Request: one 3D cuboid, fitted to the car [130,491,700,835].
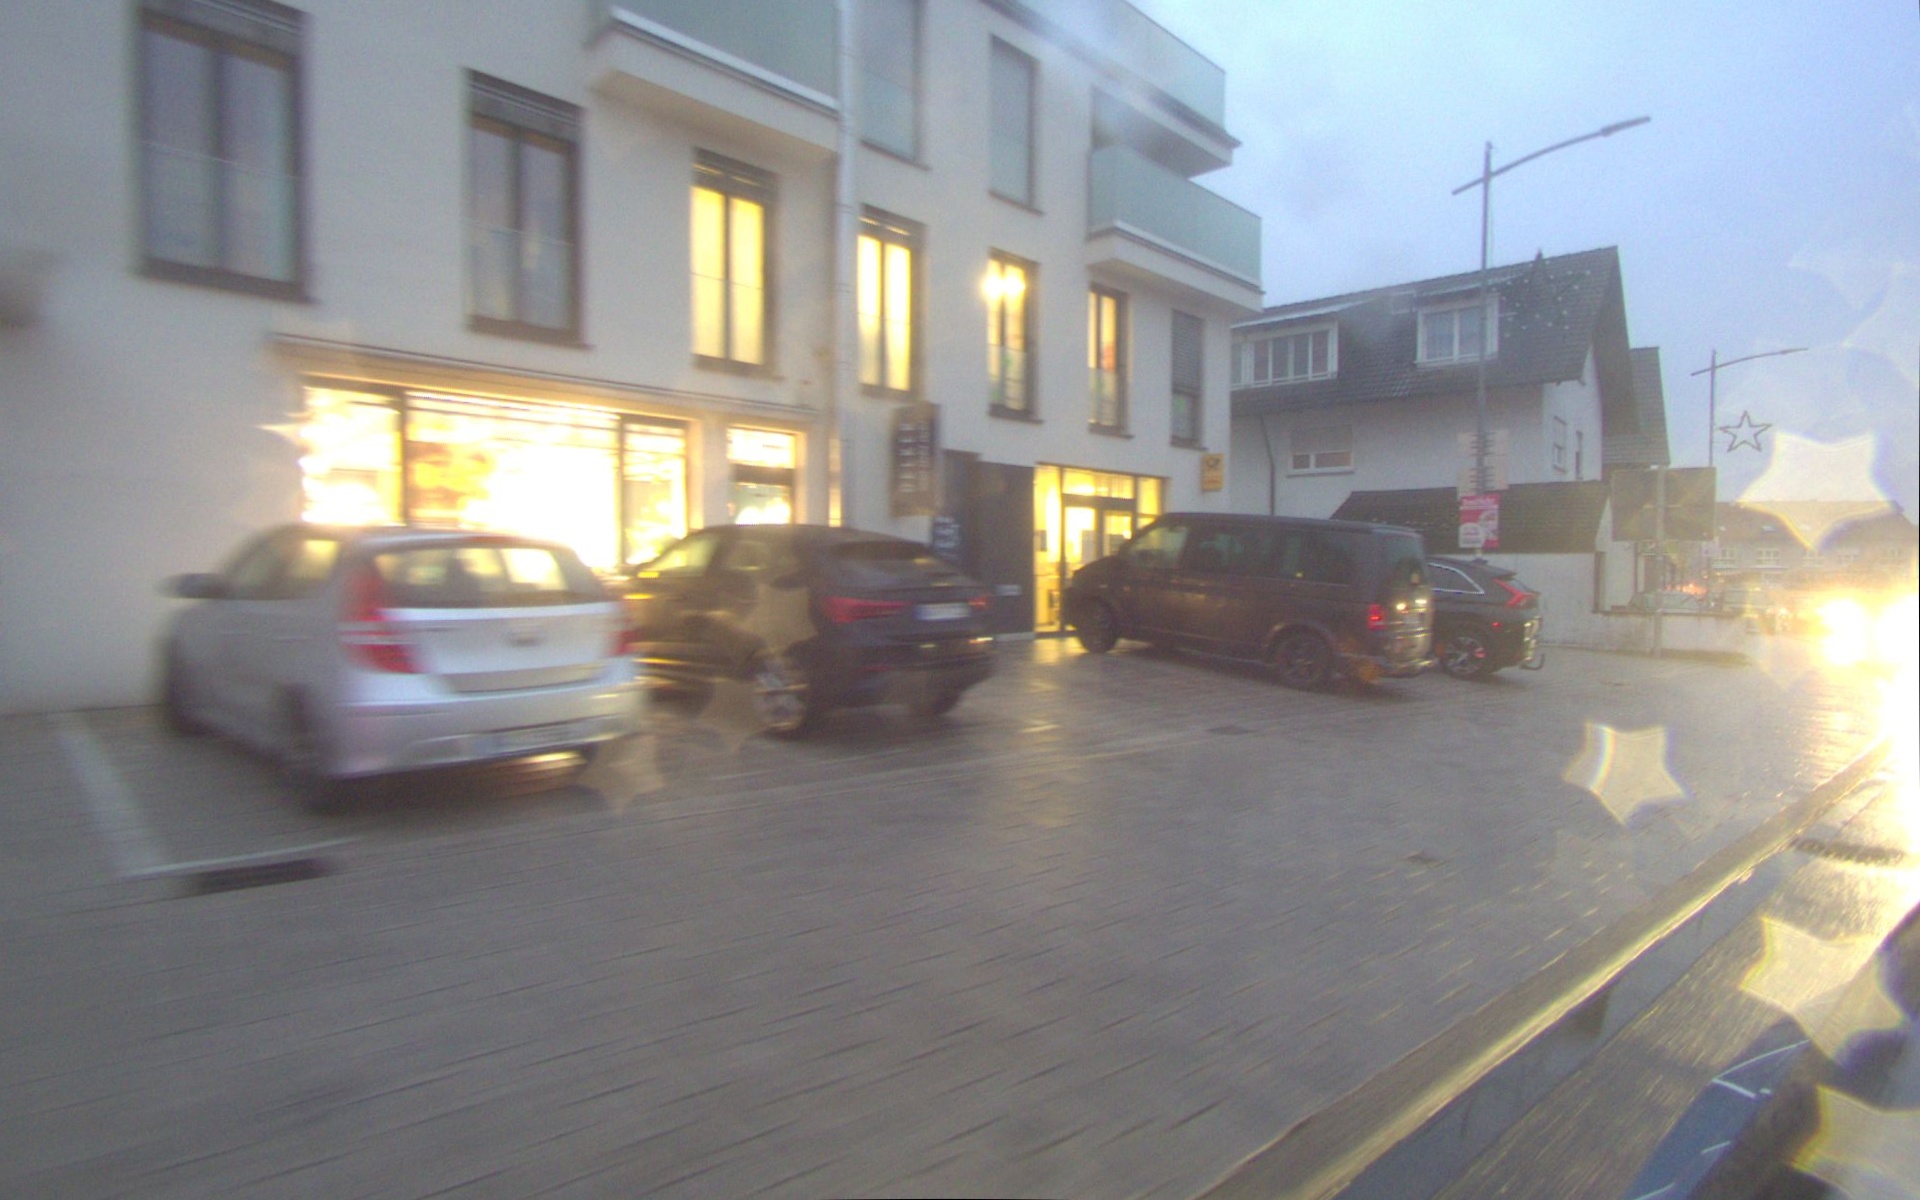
[{"bbox_3d":[-3.633,0.128,6.452,3.981,1.521,1.789,5,5,38],"label":"car"}]

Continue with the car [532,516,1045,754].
[{"bbox_3d":[-1.671,0.083,8.740,4.504,1.510,1.947,4,4,40],"label":"car"}]

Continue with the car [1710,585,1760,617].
[{"bbox_3d":[33.992,0.020,44.450,1.487,1.307,3.252,2,1,33],"label":"car"}]

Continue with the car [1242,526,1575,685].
[{"bbox_3d":[6.641,-0.020,15.257,4.138,1.653,1.730,11,7,39],"label":"car"}]

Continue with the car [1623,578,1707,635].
[{"bbox_3d":[21.260,0.171,30.447,1.769,1.515,3.725,4,2,39],"label":"car"}]

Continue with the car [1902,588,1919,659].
[{"bbox_3d":[21.858,0.489,22.218,1.566,1.487,3.563,0,0,41],"label":"car"}]

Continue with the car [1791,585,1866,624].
[{"bbox_3d":[34.379,0.139,40.149,1.729,1.461,3.953,0,0,33],"label":"car"}]

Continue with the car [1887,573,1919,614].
[{"bbox_3d":[49.256,-0.369,51.600,1.982,2.039,3.960,0,1,29],"label":"car"}]

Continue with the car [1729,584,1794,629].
[{"bbox_3d":[30.750,0.226,38.841,1.840,1.606,3.716,2,1,39],"label":"car"}]

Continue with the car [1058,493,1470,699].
[{"bbox_3d":[3.702,-0.196,12.967,4.546,1.956,1.943,10,6,44],"label":"car"}]

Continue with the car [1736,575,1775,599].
[{"bbox_3d":[68.915,-1.160,87.729,1.982,2.039,3.960,0,1,29],"label":"car"}]
